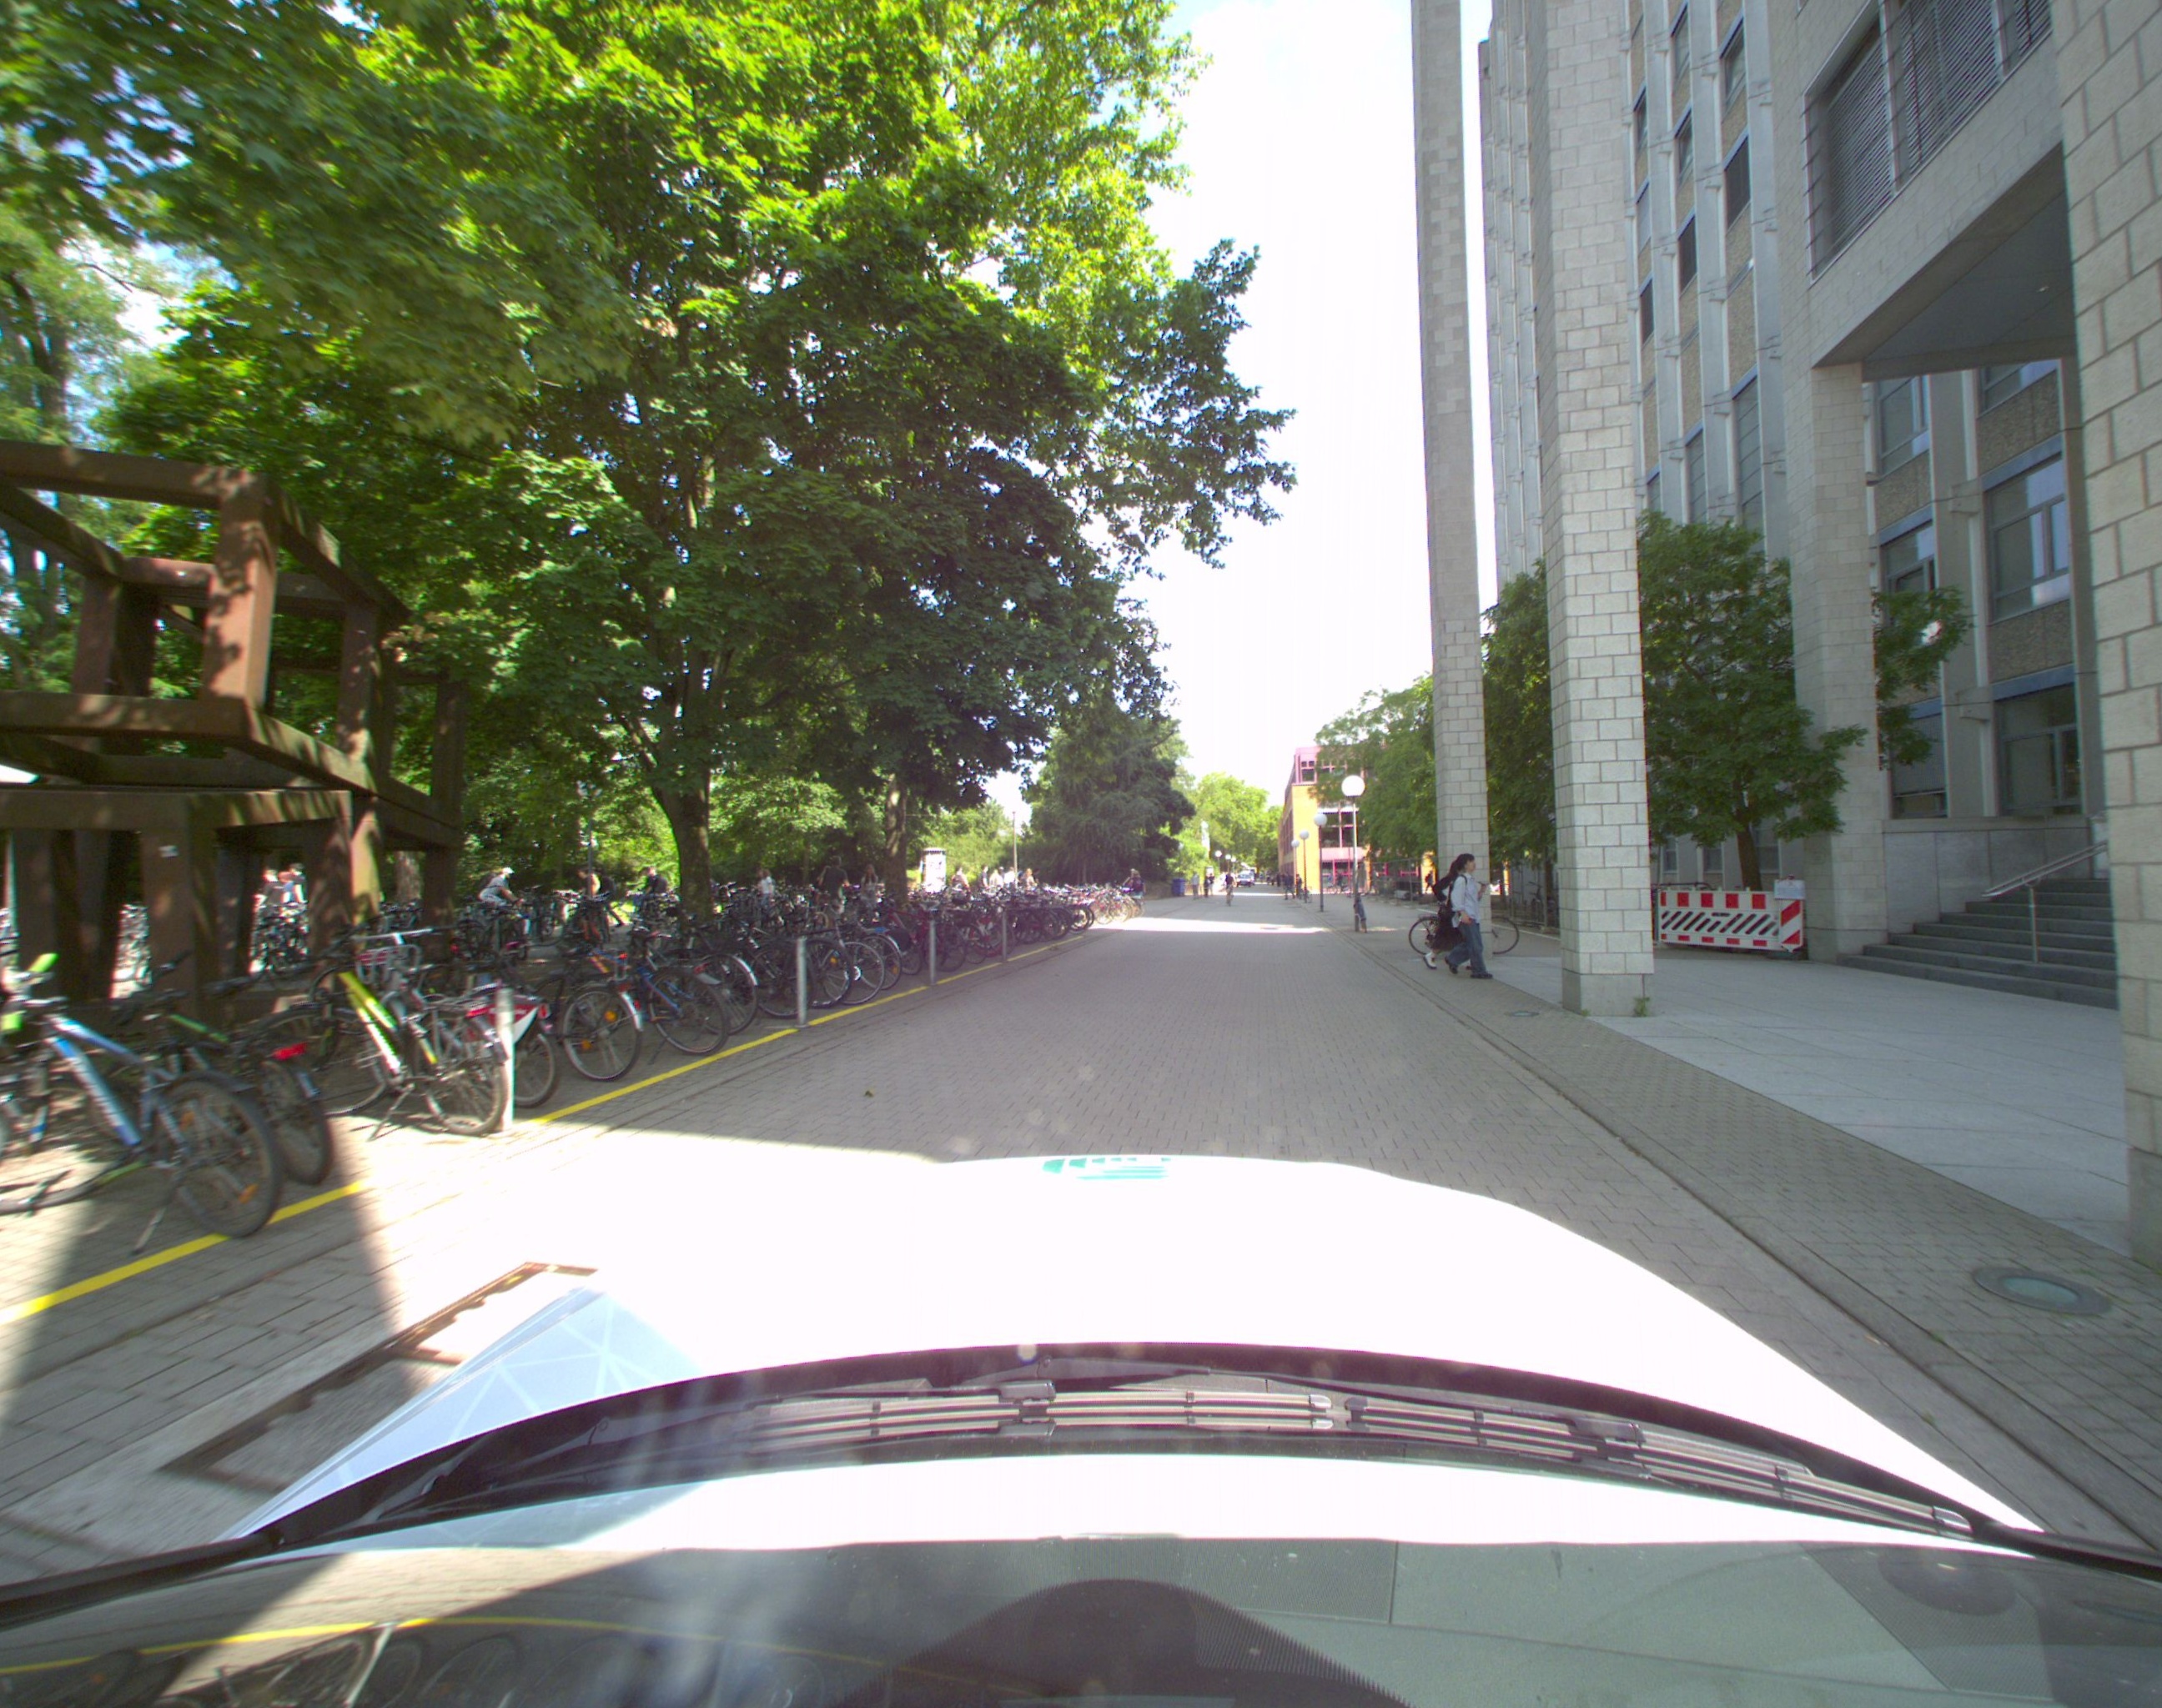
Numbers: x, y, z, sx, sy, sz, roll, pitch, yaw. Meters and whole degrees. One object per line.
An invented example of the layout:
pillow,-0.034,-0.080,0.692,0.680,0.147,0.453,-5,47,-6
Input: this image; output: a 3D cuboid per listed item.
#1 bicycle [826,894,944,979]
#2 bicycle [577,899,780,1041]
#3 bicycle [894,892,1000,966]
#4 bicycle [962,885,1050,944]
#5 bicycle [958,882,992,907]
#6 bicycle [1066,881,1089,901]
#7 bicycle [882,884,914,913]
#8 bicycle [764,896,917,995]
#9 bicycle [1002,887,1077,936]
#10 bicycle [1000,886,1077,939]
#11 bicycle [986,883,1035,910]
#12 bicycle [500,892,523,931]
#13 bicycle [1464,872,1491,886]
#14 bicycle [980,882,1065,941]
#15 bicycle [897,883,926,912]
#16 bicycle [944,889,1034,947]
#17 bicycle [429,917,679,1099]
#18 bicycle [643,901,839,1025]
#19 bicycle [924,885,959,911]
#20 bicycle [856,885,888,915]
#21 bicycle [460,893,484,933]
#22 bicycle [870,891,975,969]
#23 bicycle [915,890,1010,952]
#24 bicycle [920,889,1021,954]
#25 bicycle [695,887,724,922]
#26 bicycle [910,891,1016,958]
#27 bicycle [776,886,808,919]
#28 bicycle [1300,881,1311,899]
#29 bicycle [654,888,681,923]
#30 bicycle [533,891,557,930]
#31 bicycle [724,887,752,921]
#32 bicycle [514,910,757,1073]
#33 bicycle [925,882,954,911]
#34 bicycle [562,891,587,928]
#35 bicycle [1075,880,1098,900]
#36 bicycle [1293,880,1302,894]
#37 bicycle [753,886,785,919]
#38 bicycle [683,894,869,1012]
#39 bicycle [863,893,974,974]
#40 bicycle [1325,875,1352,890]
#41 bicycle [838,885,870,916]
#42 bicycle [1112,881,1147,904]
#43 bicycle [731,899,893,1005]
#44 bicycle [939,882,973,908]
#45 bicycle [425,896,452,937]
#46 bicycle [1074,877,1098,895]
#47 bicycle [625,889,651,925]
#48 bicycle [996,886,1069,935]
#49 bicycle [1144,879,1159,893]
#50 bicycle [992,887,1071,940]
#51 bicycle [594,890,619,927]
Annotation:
bicycle,-2.761,1.123,11.434,1.609,1.108,0.566,-1,-2,26
bicycle,-3.510,0.980,7.122,1.613,1.151,0.498,-1,-2,12
bicycle,-2.178,1.185,13.157,1.718,1.108,0.578,-1,-2,31
bicycle,-1.546,1.238,16.805,1.724,1.179,0.498,-1,-2,11
bicycle,-4.803,1.809,36.746,1.755,1.110,0.477,-2,-2,41
bicycle,-0.184,1.955,43.808,0.475,1.047,1.684,1,-2,-29
bicycle,-7.138,1.719,31.677,0.476,1.110,1.757,1,-2,-39
bicycle,-2.932,1.077,9.929,1.706,1.108,0.723,-1,-2,22
bicycle,-0.944,1.318,18.751,1.688,1.108,0.474,0,-2,0
bicycle,-0.942,1.305,18.282,1.688,1.145,0.474,0,-2,0
bicycle,-2.761,1.681,32.158,1.898,1.047,0.541,0,-2,-4
bicycle,-17.112,1.712,24.464,0.519,1.110,1.758,1,-2,-36
bicycle,31.220,1.969,64.125,1.797,1.110,0.475,0,-2,6
bicycle,-1.237,1.218,17.317,1.727,1.236,0.497,-1,-2,4
bicycle,-6.648,1.704,31.948,0.476,1.110,1.759,1,-2,-34
bicycle,-1.811,1.254,16.151,1.729,1.108,0.497,0,-2,-1
bicycle,-3.620,1.004,5.602,1.612,1.108,0.499,-1,-2,16
bicycle,-3.249,1.026,7.854,1.616,1.108,0.646,-1,-2,7
bicycle,-6.050,1.898,35.222,1.755,1.110,0.477,-2,-2,41
bicycle,-8.044,1.735,31.317,0.476,1.110,1.757,1,-2,-39
bicycle,-17.819,1.704,23.850,0.519,1.110,1.758,1,-2,-36
bicycle,-2.453,1.143,12.546,1.609,1.144,0.500,-1,-2,25
bicycle,-2.237,1.240,15.364,1.736,1.108,0.495,0,-2,-12
bicycle,-1.982,1.206,14.646,1.725,1.126,0.498,-1,-2,7
bicycle,-12.521,1.682,27.426,0.519,1.110,1.758,1,-2,-36
bicycle,-2.027,1.198,14.020,1.723,1.108,0.498,-1,-2,12
bicycle,-10.388,1.724,29.283,0.520,1.110,1.757,1,-2,-39
bicycle,12.314,1.985,44.693,0.393,0.936,1.737,-3,-2,12
bicycle,-13.689,1.691,26.947,0.519,1.110,1.758,1,-2,-36
bicycle,-16.442,1.709,24.963,0.519,1.110,1.758,1,-2,-36
bicycle,-11.779,1.712,27.943,0.519,1.110,1.758,1,-2,-36
bicycle,-3.429,1.008,6.301,1.612,1.108,0.694,-1,-2,17
bicycle,-5.662,1.688,32.461,0.476,1.110,1.759,1,-2,-34
bicycle,-15.790,1.705,25.356,0.519,1.110,1.758,1,-2,-36
bicycle,0.311,1.965,44.203,0.475,1.047,1.684,2,-2,-29
bicycle,14.798,2.254,55.765,0.447,0.962,1.745,-4,-2,12
bicycle,-10.957,1.690,28.607,0.520,1.110,1.757,1,-2,-39
bicycle,-3.162,1.008,8.487,1.770,1.162,0.498,-1,-2,7
bicycle,-2.380,1.137,11.905,1.609,1.108,0.500,-1,-2,25
bicycle,19.537,2.141,61.719,1.886,1.083,0.591,-1,-2,19
bicycle,-8.477,1.703,30.380,0.476,1.110,1.757,1,-2,-39
bicycle,2.429,1.900,40.530,1.853,1.110,0.469,1,-2,-35
bicycle,-2.934,1.058,8.947,1.616,1.108,0.498,-1,-2,7
bicycle,-5.540,1.801,35.954,1.755,1.110,0.477,-2,-2,41
bicycle,-18.432,1.773,23.375,0.519,1.110,1.758,1,-2,-36
bicycle,0.300,1.883,47.592,0.468,1.047,1.710,0,-2,34
bicycle,-14.467,1.717,26.570,0.519,1.110,1.758,1,-2,-36
bicycle,-1.129,1.326,19.171,1.688,1.108,0.474,0,-2,0
bicycle,4.771,2.187,55.008,0.417,0.910,1.750,-2,-3,27
bicycle,-1.070,1.290,17.771,1.688,1.108,0.497,0,-2,1
bicycle,-15.119,1.709,25.923,0.519,1.110,1.758,1,-2,-36
